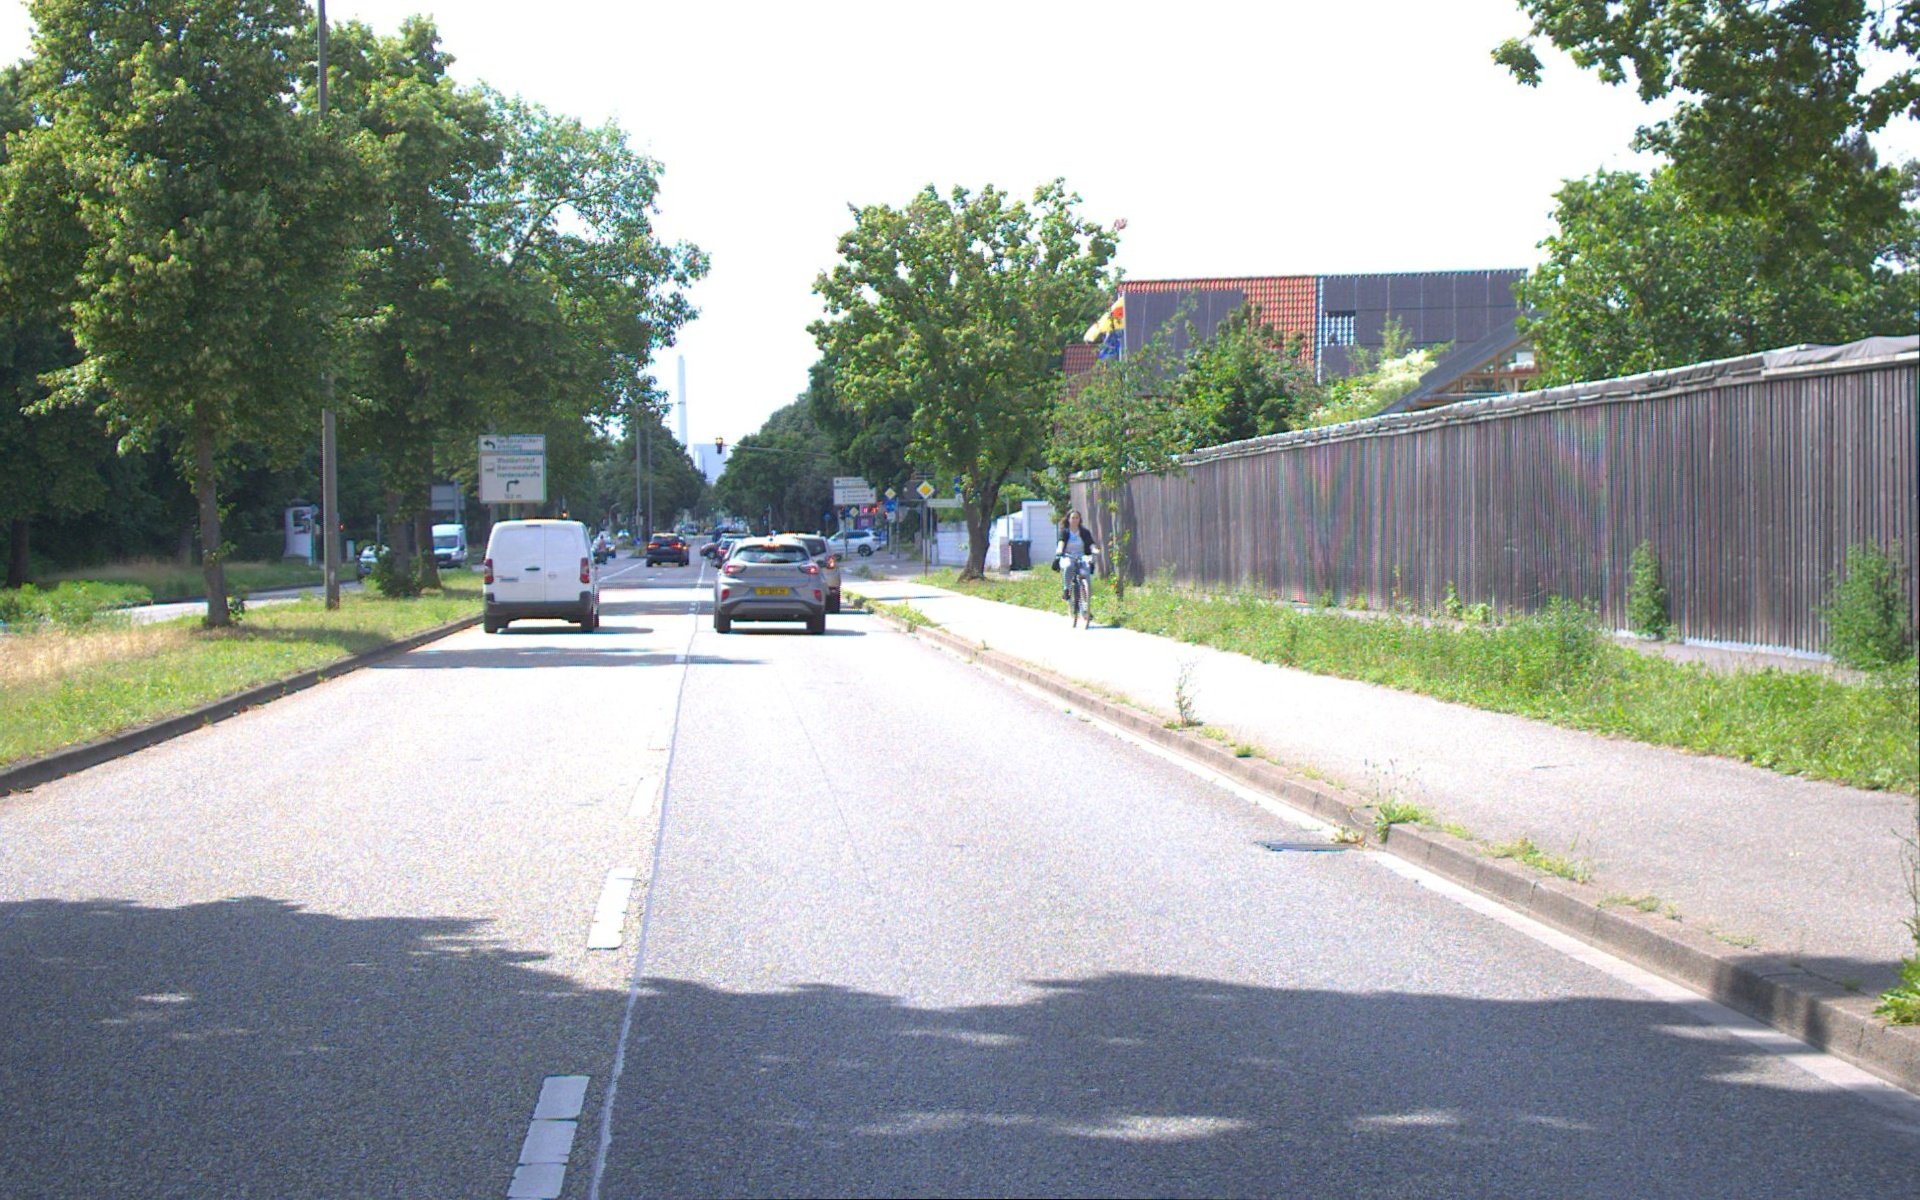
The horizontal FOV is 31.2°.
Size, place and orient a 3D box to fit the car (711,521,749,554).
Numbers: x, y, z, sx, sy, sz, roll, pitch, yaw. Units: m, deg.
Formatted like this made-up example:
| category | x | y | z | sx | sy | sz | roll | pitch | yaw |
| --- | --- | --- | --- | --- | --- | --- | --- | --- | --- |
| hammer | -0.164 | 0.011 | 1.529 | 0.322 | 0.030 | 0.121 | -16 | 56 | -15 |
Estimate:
| category | x | y | z | sx | sy | sz | roll | pitch | yaw |
| --- | --- | --- | --- | --- | --- | --- | --- | --- | --- |
| car | -12.313 | -3.363 | 184.272 | 1.993 | 1.766 | 4.148 | 0 | 1 | -4 |

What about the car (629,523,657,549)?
| category | x | y | z | sx | sy | sz | roll | pitch | yaw |
| --- | --- | --- | --- | --- | --- | --- | --- | --- | --- |
| car | -21.697 | -4.383 | 235.665 | 1.779 | 1.761 | 4.151 | -1 | 1 | -4 |

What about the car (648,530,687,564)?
| category | x | y | z | sx | sy | sz | roll | pitch | yaw |
| --- | --- | --- | --- | --- | --- | --- | --- | --- | --- |
| car | -15.518 | -2.825 | 182.698 | 1.941 | 1.761 | 4.147 | -1 | 1 | -4 |

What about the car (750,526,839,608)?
| category | x | y | z | sx | sy | sz | roll | pitch | yaw |
| --- | --- | --- | --- | --- | --- | --- | --- | --- | --- |
| car | -3.490 | -0.721 | 71.903 | 1.779 | 1.637 | 4.197 | -1 | 1 | -4 |

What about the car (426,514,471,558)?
| category | x | y | z | sx | sy | sz | roll | pitch | yaw |
| --- | --- | --- | --- | --- | --- | --- | --- | --- | --- |
| car | -28.927 | -3.637 | 194.665 | 2.045 | 2.423 | 5.251 | -1 | 1 | -4 |

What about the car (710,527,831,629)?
| category | x | y | z | sx | sy | sz | roll | pitch | yaw |
| --- | --- | --- | --- | --- | --- | --- | --- | --- | --- |
| car | -3.125 | -0.397 | 56.357 | 1.875 | 1.583 | 4.185 | -1 | 1 | -4 |

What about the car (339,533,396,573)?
| category | x | y | z | sx | sy | sz | roll | pitch | yaw |
| --- | --- | --- | --- | --- | --- | --- | --- | --- | --- |
| car | -26.036 | -2.069 | 151.113 | 1.993 | 1.700 | 4.194 | -1 | 1 | -4 |

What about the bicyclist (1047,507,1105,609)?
| category | x | y | z | sx | sy | sz | roll | pitch | yaw |
| --- | --- | --- | --- | --- | --- | --- | --- | --- | --- |
| bicyclist | 1.646 | -0.601 | 48.850 | 0.654 | 1.407 | 0.986 | -3 | 1 | -3 |

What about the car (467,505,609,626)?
| category | x | y | z | sx | sy | sz | roll | pitch | yaw |
| --- | --- | --- | --- | --- | --- | --- | --- | --- | --- |
| car | -6.969 | -0.616 | 57.198 | 2.065 | 1.905 | 4.647 | -1 | 1 | -4 |

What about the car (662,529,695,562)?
| category | x | y | z | sx | sy | sz | roll | pitch | yaw |
| --- | --- | --- | --- | --- | --- | --- | --- | --- | --- |
| car | -15.824 | -3.072 | 193.261 | 1.779 | 1.761 | 4.169 | -1 | 1 | -4 |

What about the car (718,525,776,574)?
| category | x | y | z | sx | sy | sz | roll | pitch | yaw |
| --- | --- | --- | --- | --- | --- | --- | --- | --- | --- |
| car | -7.160 | -1.720 | 115.280 | 1.880 | 1.581 | 4.001 | -1 | 1 | -4 |

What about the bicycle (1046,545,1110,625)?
| category | x | y | z | sx | sy | sz | roll | pitch | yaw |
| --- | --- | --- | --- | --- | --- | --- | --- | --- | --- |
| bicycle | 1.664 | -0.230 | 48.875 | 0.646 | 1.064 | 2.279 | -3 | 1 | -3 |
